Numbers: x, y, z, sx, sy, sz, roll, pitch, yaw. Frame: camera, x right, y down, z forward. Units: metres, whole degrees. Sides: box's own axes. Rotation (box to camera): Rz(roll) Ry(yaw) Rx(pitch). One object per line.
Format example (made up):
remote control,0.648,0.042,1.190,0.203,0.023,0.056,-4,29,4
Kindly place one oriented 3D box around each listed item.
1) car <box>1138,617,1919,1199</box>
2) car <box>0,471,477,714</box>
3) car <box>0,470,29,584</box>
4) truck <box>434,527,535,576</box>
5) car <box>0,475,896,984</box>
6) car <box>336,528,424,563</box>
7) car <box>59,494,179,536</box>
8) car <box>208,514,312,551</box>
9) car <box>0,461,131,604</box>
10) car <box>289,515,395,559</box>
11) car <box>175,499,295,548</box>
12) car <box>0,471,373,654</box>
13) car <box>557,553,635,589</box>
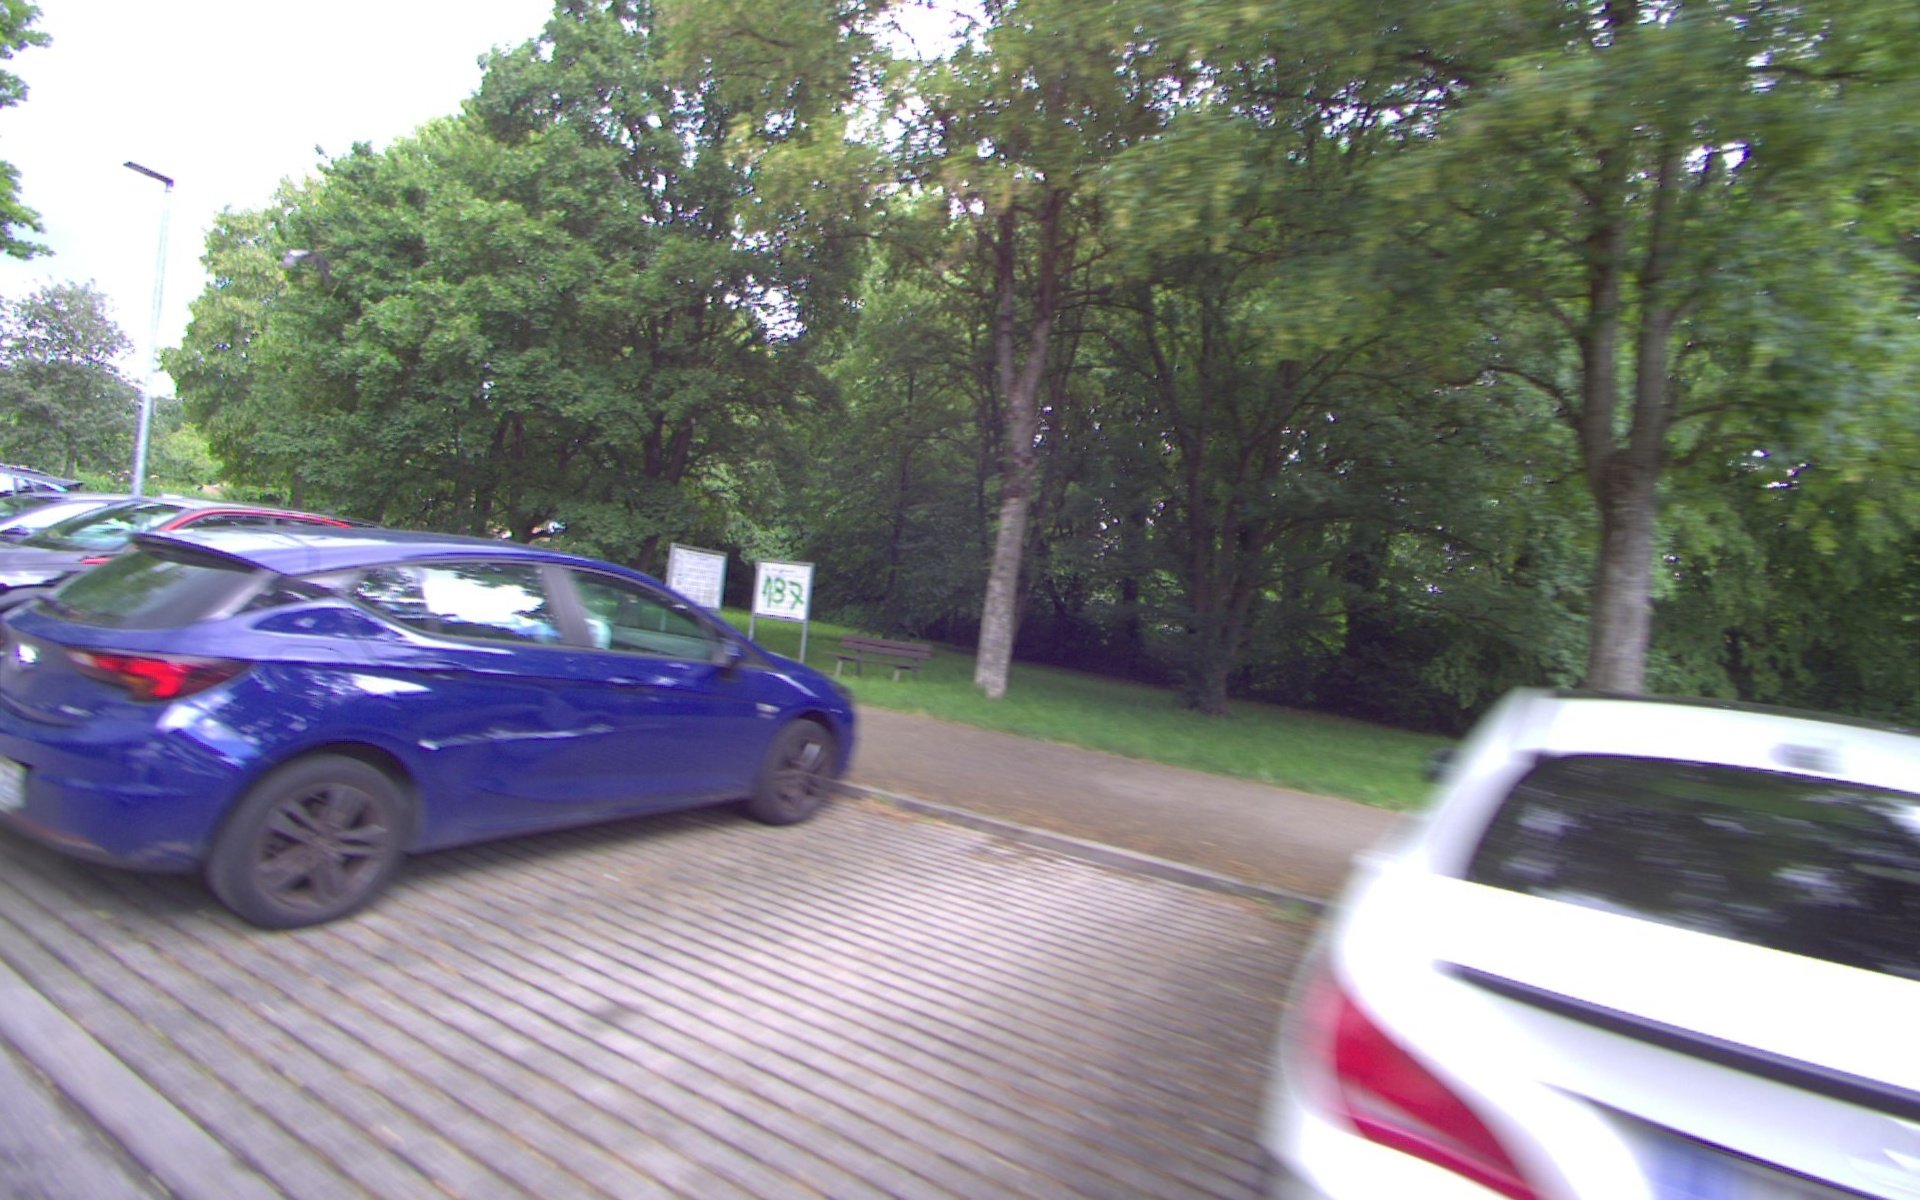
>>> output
car,2.225,0.954,3.047,1.816,1.473,4.488,7,1,31
car,-6.255,-0.078,7.900,1.819,1.537,4.078,7,1,28
car,-15.114,-1.200,13.546,1.767,1.595,3.381,8,1,32
truck,-31.486,-3.174,66.812,2.160,2.455,5.504,7,-1,38
car,-2.311,0.406,5.149,1.821,1.475,4.074,7,1,32
car,-35.410,-3.296,61.507,1.678,1.544,4.281,6,-1,38
car,-43.014,-4.319,51.528,1.677,1.445,4.392,6,-1,37
car,-39.352,-3.782,56.619,1.678,1.445,4.427,6,-1,38
car,-13.055,-1.002,11.978,2.047,1.697,4.418,8,1,31
car,-39.895,-4.035,65.063,2.105,2.081,5.318,7,-1,37
car,-43.334,-4.525,60.223,2.105,2.081,5.318,7,-1,37
car,-8.570,-0.386,9.641,1.950,1.537,4.638,8,1,33
car,-28.564,-2.267,79.073,2.105,2.081,5.318,7,-1,37
